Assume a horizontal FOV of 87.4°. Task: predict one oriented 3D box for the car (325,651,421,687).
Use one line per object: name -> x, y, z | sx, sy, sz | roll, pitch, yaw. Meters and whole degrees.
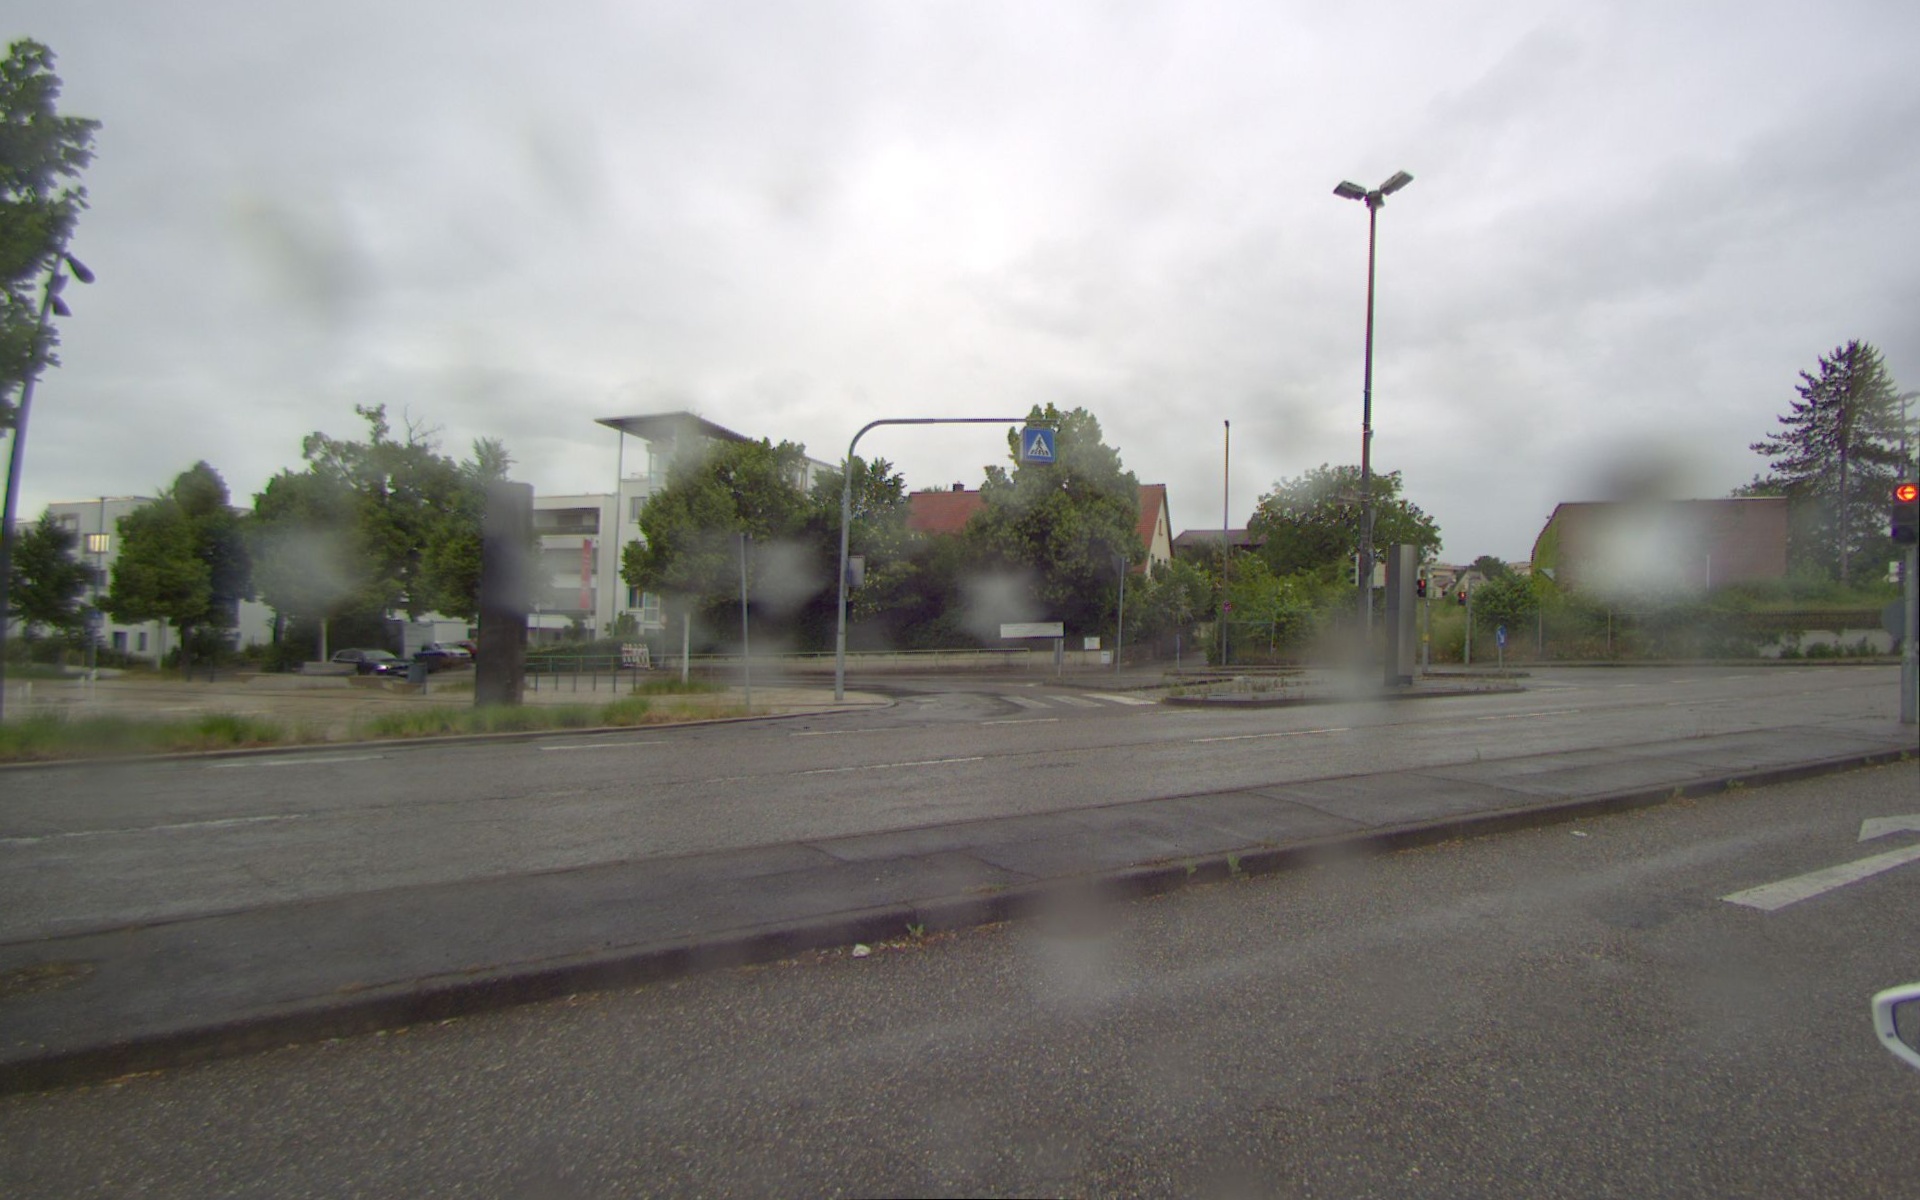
car -> -25.651, 2.991, 43.885 | 4.205, 1.408, 1.787 | -1, -2, 30
